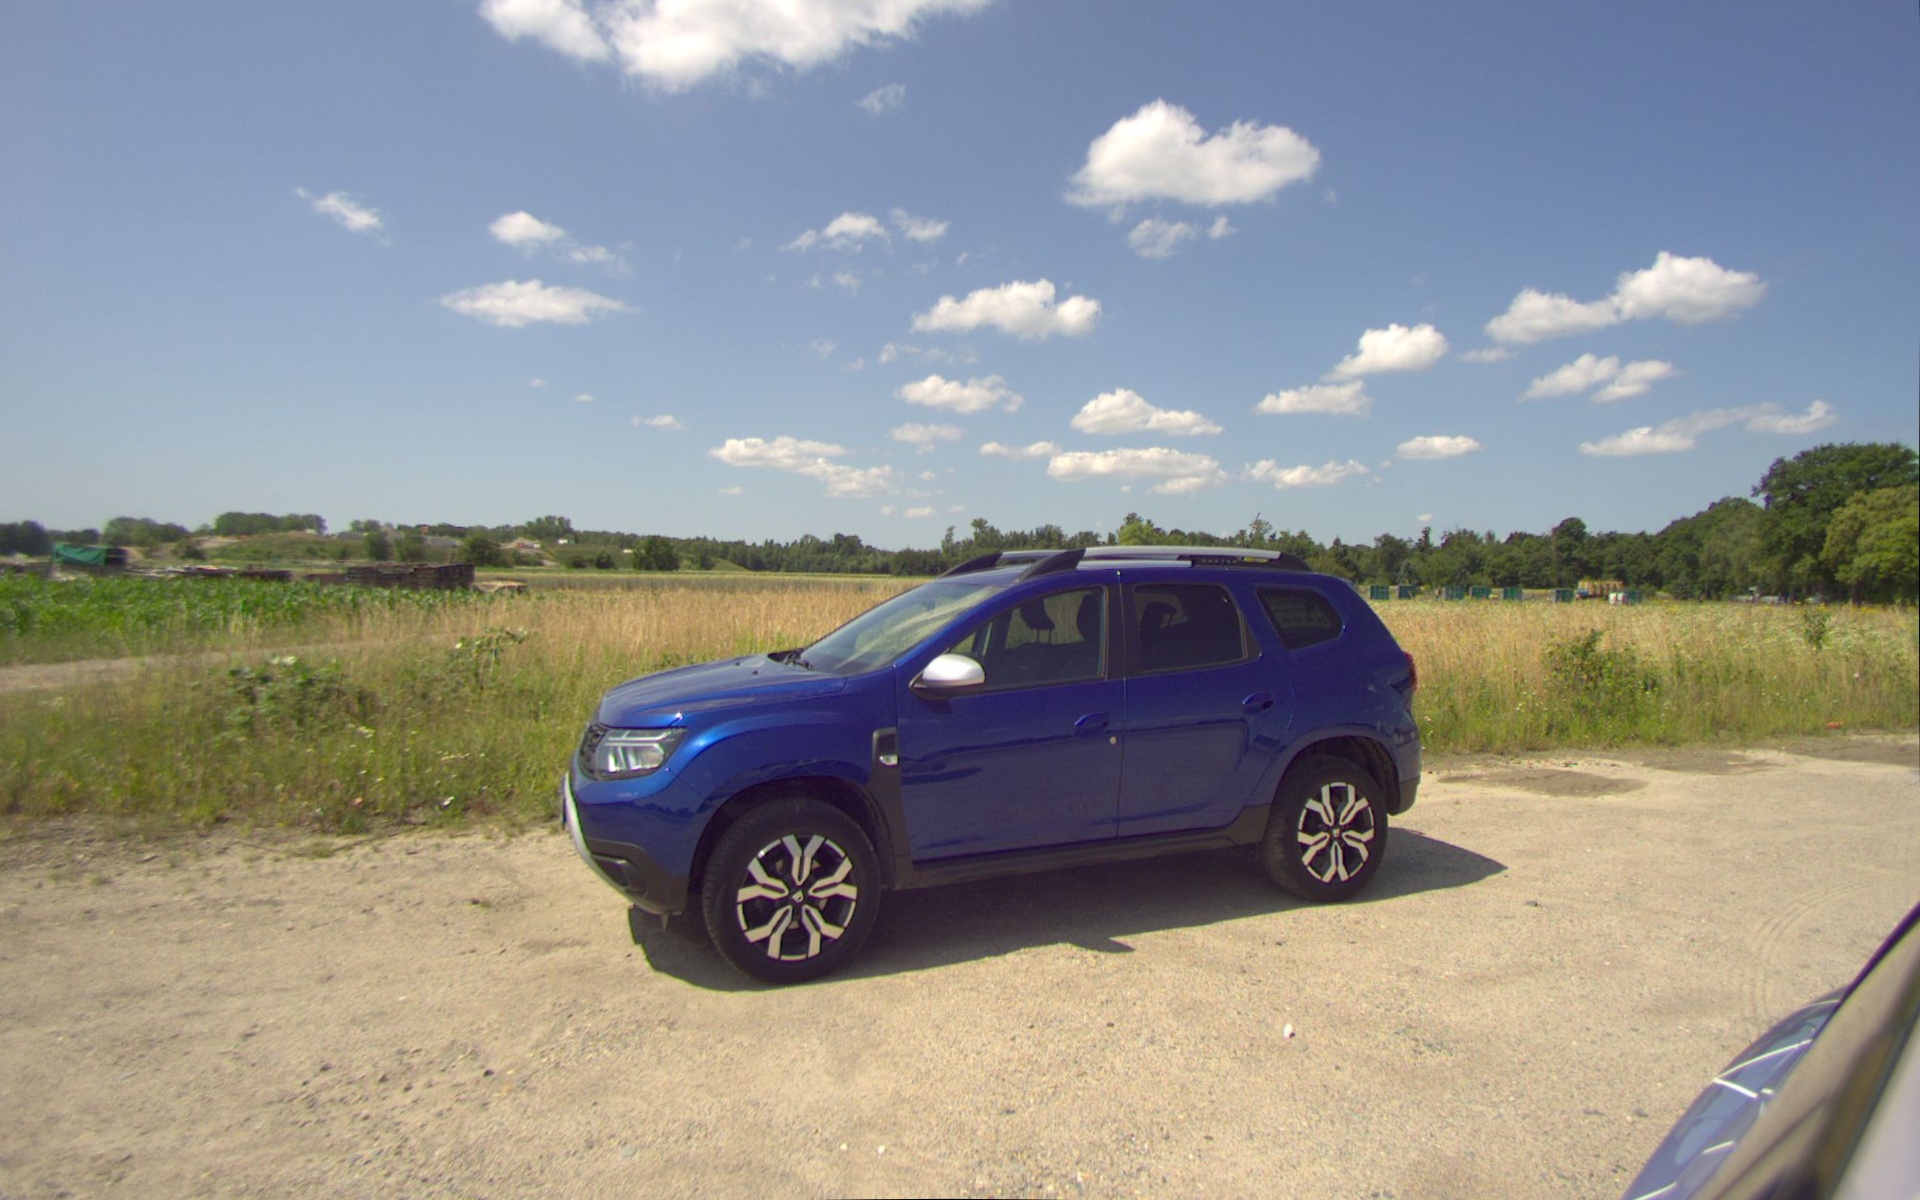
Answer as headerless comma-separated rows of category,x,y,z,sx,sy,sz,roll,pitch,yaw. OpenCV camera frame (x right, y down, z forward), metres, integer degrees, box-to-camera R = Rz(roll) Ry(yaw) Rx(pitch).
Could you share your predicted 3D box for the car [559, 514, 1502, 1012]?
car,0.332,0.521,5.097,4.365,1.682,1.868,0,1,-22
